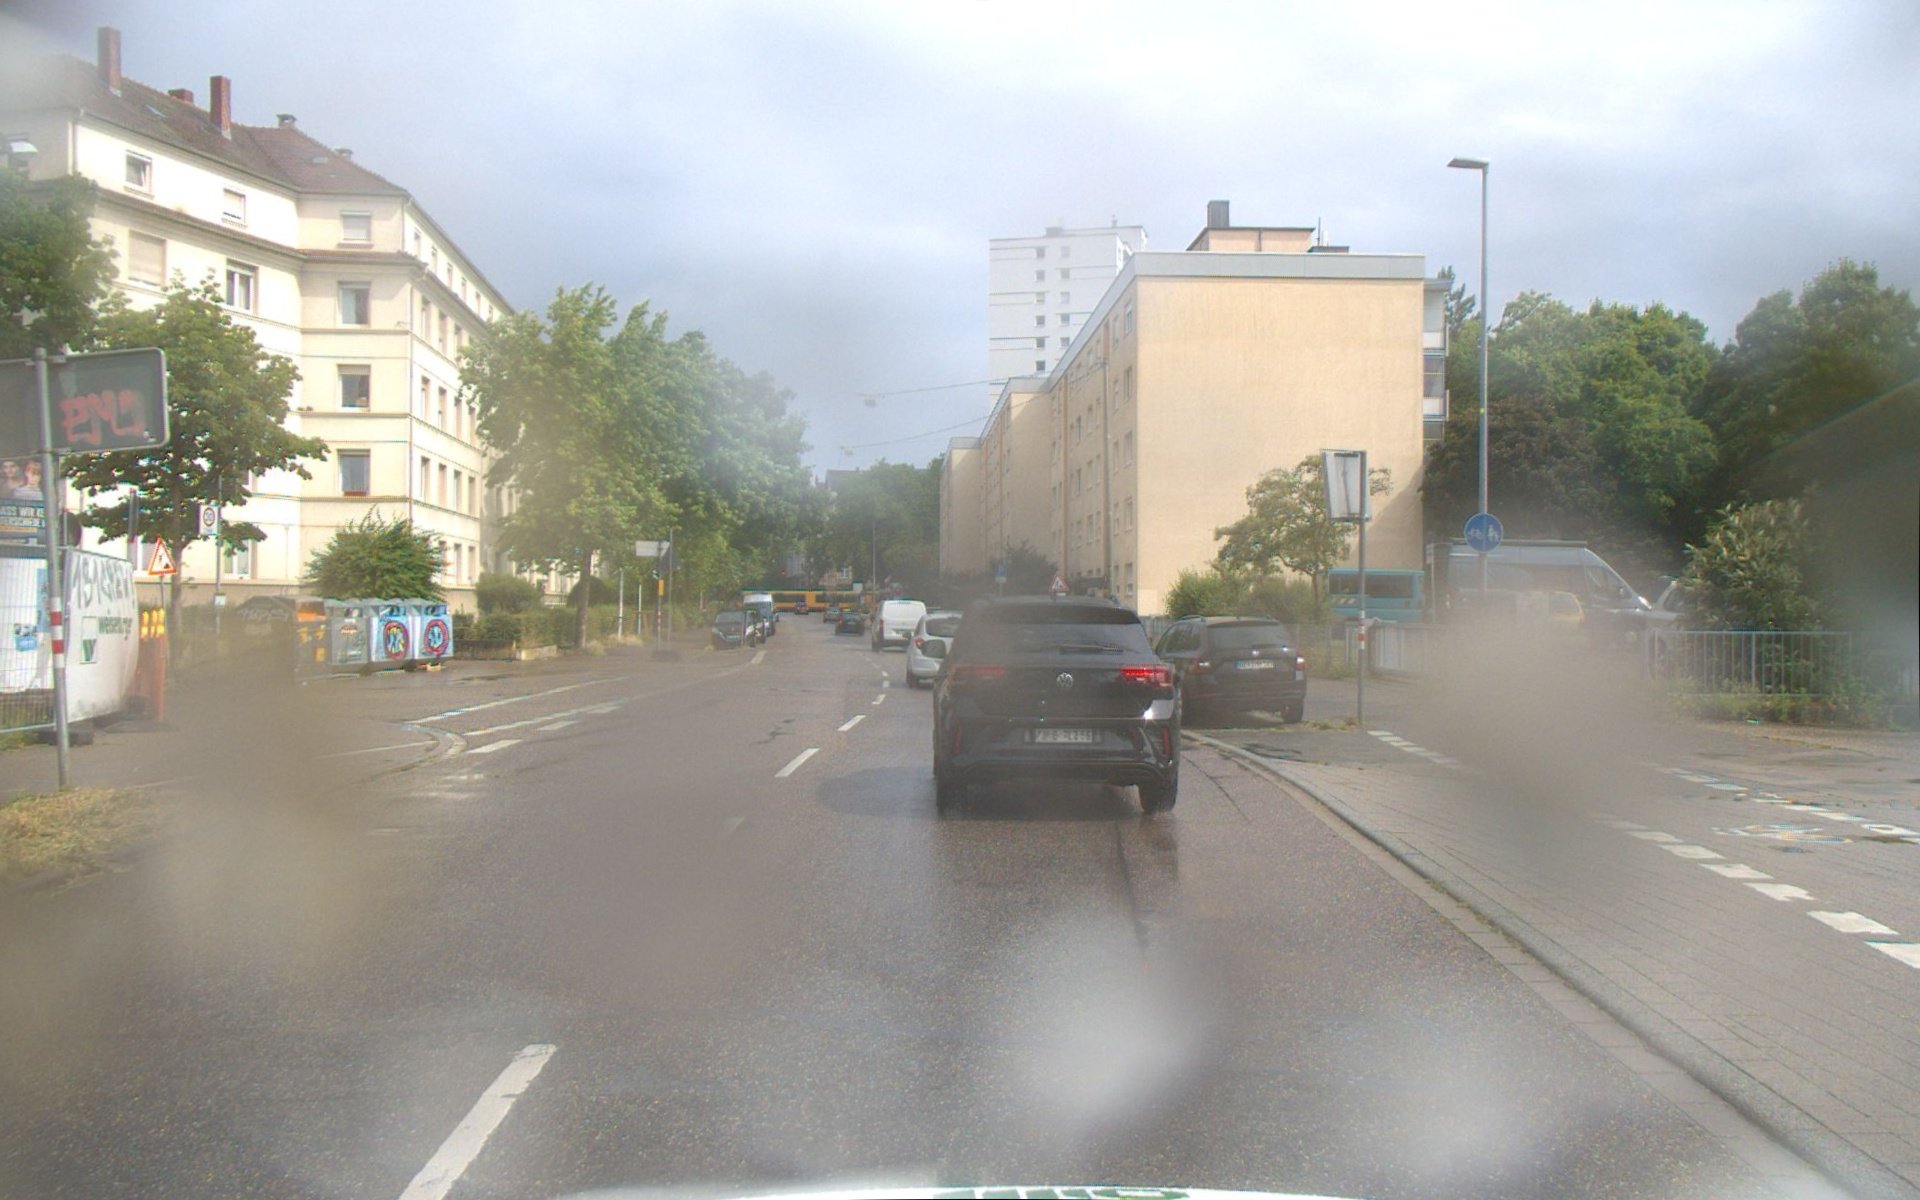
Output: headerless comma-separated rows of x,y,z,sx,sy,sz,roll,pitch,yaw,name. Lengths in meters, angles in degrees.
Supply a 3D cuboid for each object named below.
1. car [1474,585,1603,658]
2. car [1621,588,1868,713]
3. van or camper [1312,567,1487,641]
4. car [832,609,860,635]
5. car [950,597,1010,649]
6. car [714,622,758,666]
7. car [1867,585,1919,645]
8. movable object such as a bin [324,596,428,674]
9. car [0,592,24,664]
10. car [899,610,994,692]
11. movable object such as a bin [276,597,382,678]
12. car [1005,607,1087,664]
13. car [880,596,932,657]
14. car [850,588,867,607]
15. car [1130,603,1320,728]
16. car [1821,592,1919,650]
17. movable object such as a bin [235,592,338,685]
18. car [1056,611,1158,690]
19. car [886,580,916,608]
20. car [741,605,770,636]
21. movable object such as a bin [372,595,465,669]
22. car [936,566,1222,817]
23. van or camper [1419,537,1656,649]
12.356,0.451,35.500,1.577,1.474,3.417,-1,0,1,car
12.182,0.738,26.014,1.767,1.780,4.236,-1,0,-2,car
13.167,0.101,49.793,4.661,2.169,2.322,0,0,1,van or camper
-7.016,1.335,101.271,1.573,1.536,3.543,-1,0,-6,car
0.662,0.761,57.570,1.574,1.690,4.026,1,0,-7,car
-8.556,1.650,63.354,1.556,1.532,4.058,-1,0,-7,car
25.596,0.351,42.288,3.893,1.491,1.672,-1,0,-1,car
-13.165,0.778,37.361,1.505,1.703,1.667,-1,0,17,movable object such as a bin
-23.291,0.662,37.405,3.422,1.613,1.666,-1,0,11,car
-0.336,1.025,33.865,1.777,1.529,3.998,2,-1,-2,car
-13.631,0.794,35.777,1.505,1.685,1.529,-1,0,17,movable object such as a bin
2.408,0.974,46.960,1.715,1.534,4.106,0,0,-6,car
-2.049,0.999,62.058,1.800,2.140,3.997,2,-1,-3,car
-10.180,-0.253,165.282,1.633,1.870,3.996,-1,0,-4,car
3.721,0.867,23.964,1.739,1.566,4.374,-2,0,-4,car
25.549,0.542,44.821,3.591,1.512,1.639,-1,0,1,car
-13.919,0.785,34.223,1.505,1.856,1.264,-1,0,17,movable object such as a bin
3.069,1.059,35.223,1.721,1.554,3.998,1,-1,-1,car
-3.659,-0.359,102.918,1.803,1.636,3.674,-2,0,-1,car
-11.496,1.157,93.275,1.556,1.668,3.914,-1,0,-7,car
-12.726,0.738,38.898,1.505,1.691,1.460,-1,0,17,movable object such as a bin
0.794,0.668,13.405,1.836,1.674,4.059,2,-1,-2,car
13.696,-0.137,39.450,4.897,2.599,2.174,0,-1,-1,van or camper
